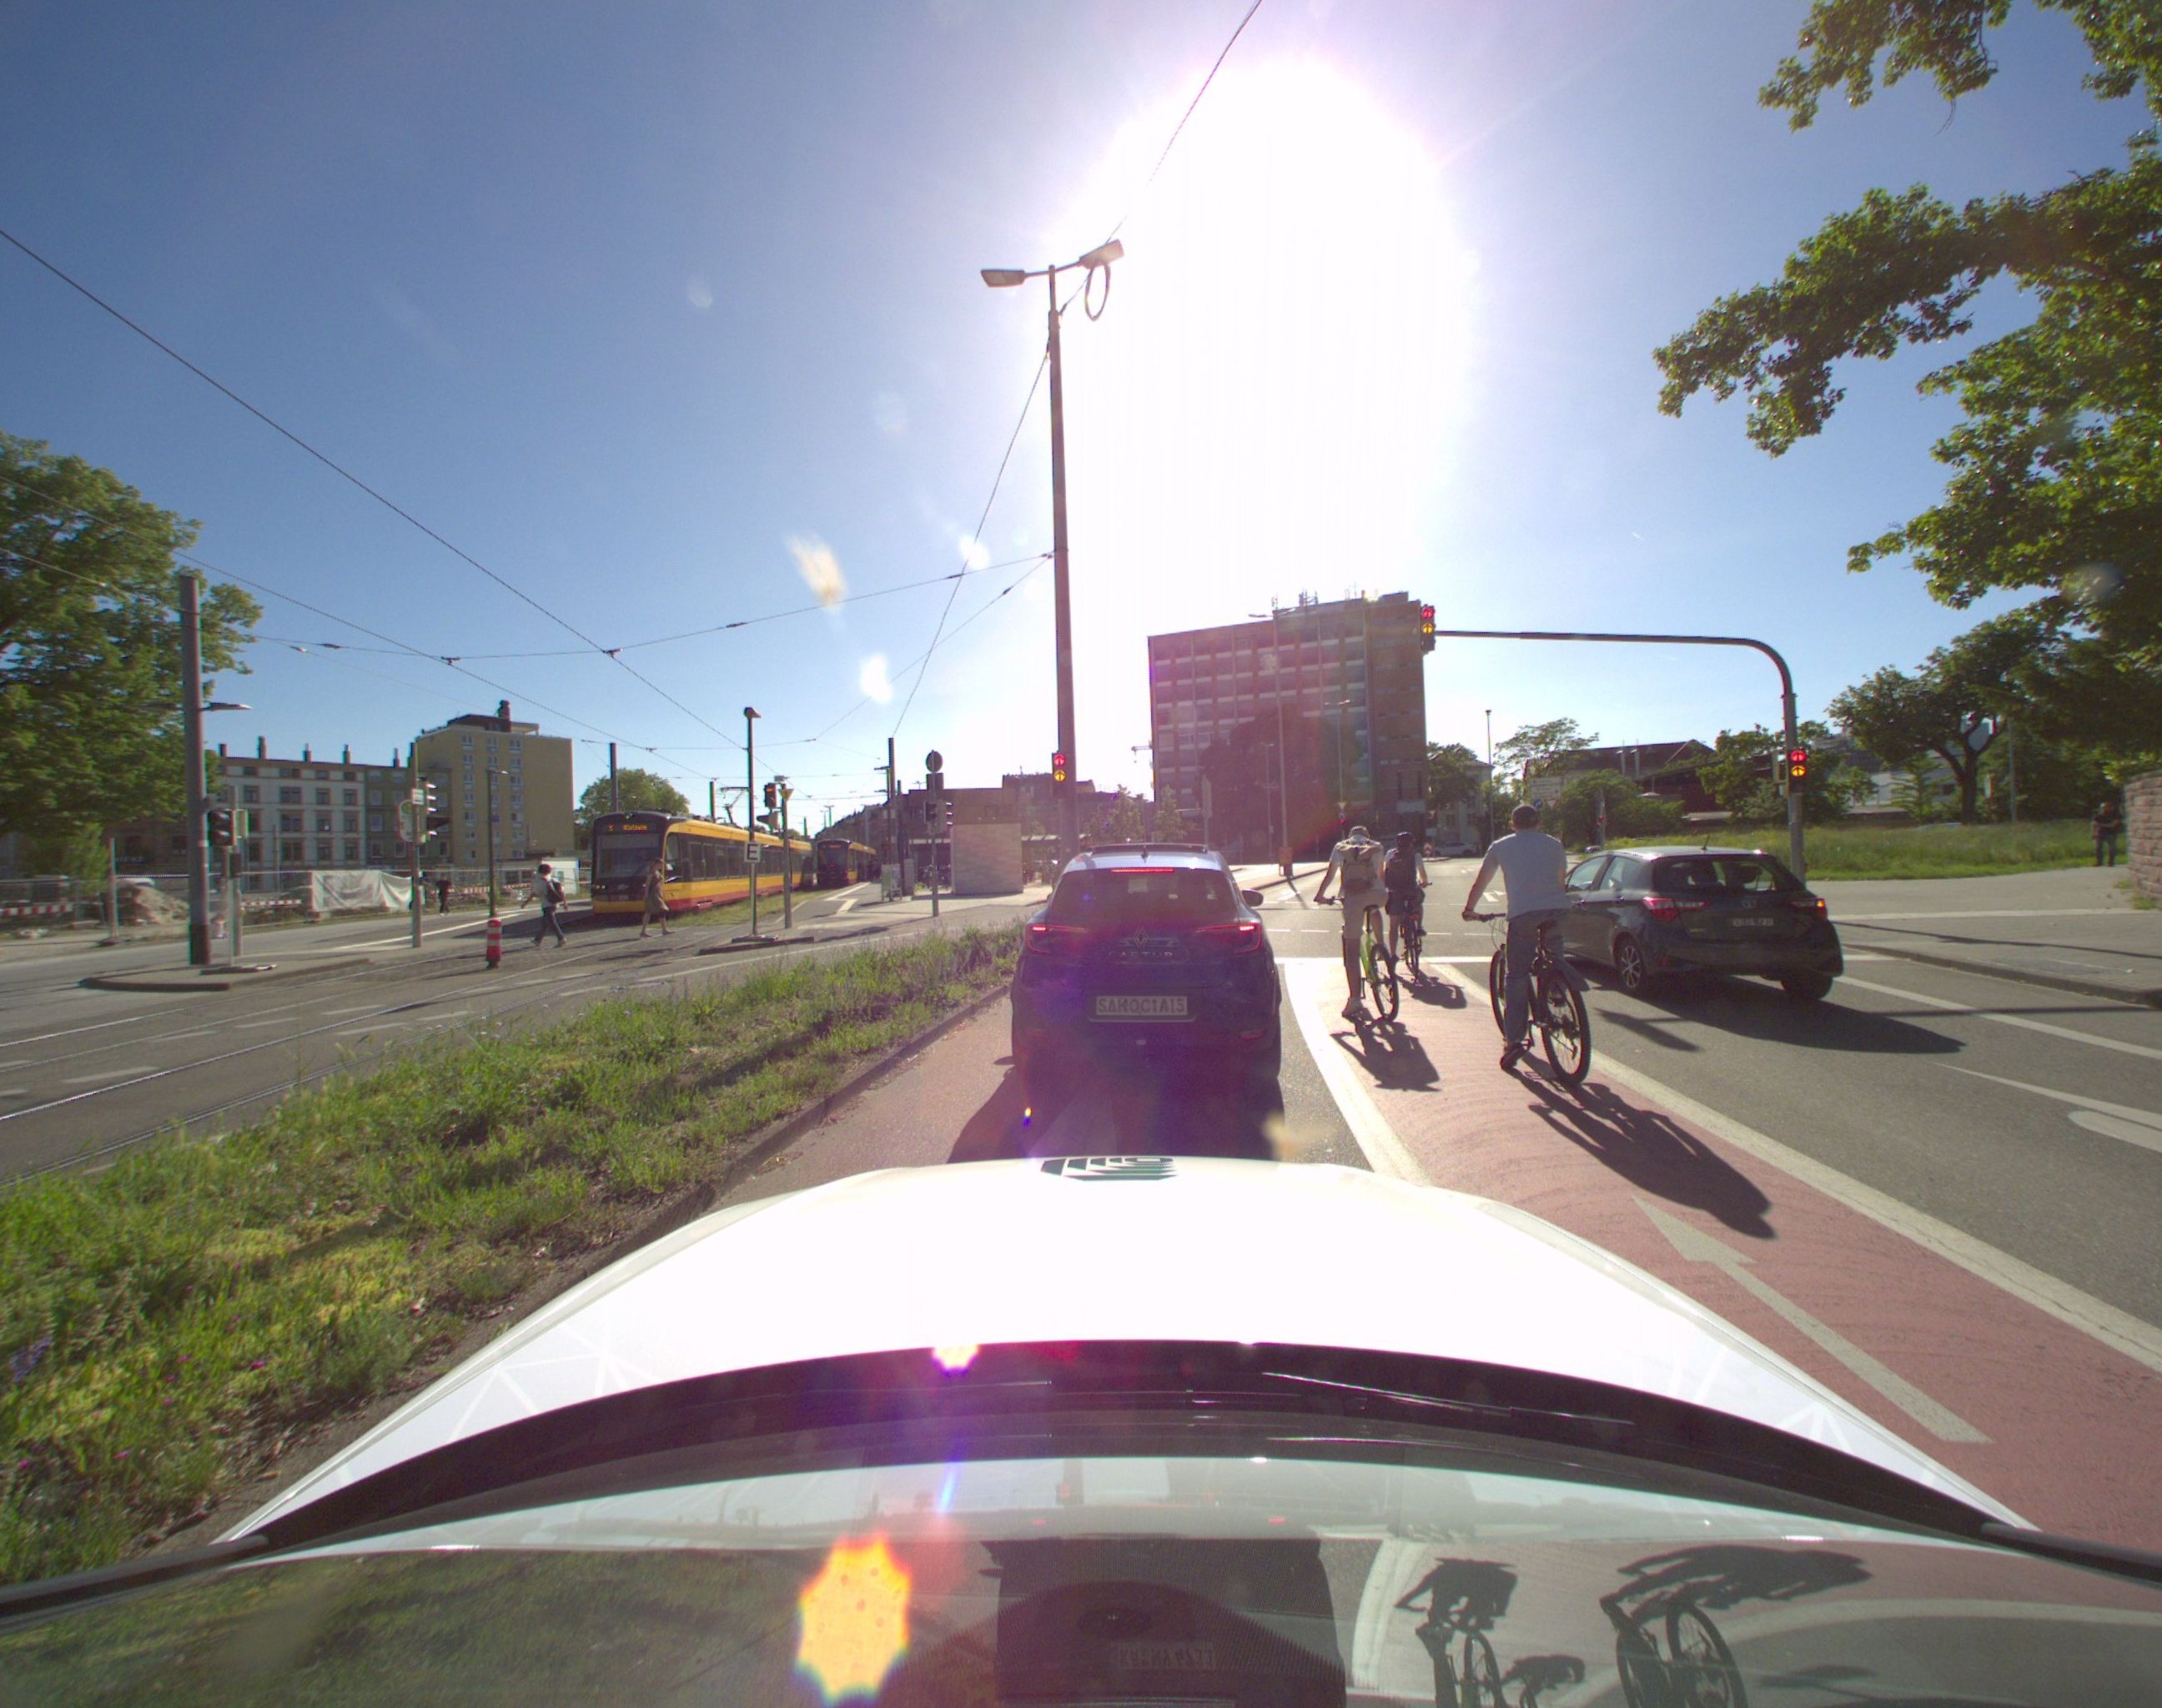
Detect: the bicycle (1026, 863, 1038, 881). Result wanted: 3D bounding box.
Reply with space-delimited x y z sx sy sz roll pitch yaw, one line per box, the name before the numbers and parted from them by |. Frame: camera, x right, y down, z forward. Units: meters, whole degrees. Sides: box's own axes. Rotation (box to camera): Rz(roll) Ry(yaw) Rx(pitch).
bicycle | -2.933 1.081 48.901 0.580 1.088 2.053 -1 -1 -7

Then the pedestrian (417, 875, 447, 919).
pedestrian | -27.140 1.791 34.068 0.668 1.767 0.796 -2 0 -13

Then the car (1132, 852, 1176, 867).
car | 7.750 0.616 86.966 4.354 1.522 1.982 -2 -2 40

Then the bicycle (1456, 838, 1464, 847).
bicycle | 44.353 -1.353 95.230 0.603 1.093 1.682 -3 0 32

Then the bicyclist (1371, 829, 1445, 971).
bicyclist | 3.975 0.528 9.963 0.716 1.626 1.059 -1 0 16

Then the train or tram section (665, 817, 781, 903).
train or tram section | -16.820 0.292 39.182 2.818 3.508 10.569 -1 0 -11

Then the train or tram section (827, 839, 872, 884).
train or tram section | -19.767 0.681 69.980 2.873 3.508 10.499 -1 0 -12

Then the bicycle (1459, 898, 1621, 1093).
bicycle | 3.215 0.906 5.877 0.606 1.077 1.838 -2 0 17

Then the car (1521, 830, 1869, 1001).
car | 6.588 0.582 9.292 1.744 1.541 3.671 -2 0 12

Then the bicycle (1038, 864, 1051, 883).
bicycle | -1.946 1.044 43.214 0.580 0.961 2.053 -1 -1 -7

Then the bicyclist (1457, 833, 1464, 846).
bicyclist | 44.313 -1.723 95.194 0.612 1.444 0.824 -2 0 32

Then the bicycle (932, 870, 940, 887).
bicycle | -8.545 1.442 47.966 0.422 0.938 1.300 0 -1 -13

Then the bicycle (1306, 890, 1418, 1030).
bicycle | 2.614 0.933 7.764 0.659 1.047 1.895 -2 1 9

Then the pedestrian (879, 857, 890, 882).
pedestrian | -14.969 1.164 62.028 0.848 1.883 0.757 -1 -2 -14

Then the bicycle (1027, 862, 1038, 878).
bicycle | -3.365 1.143 56.390 0.580 1.088 1.865 -1 -1 -9

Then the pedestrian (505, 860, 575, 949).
pedestrian | -11.679 1.073 17.612 1.017 1.832 0.757 -2 -1 -14

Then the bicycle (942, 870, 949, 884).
bicycle | -8.821 1.488 52.998 0.421 0.938 1.374 0 -1 -9

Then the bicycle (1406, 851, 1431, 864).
bicycle | 39.311 0.423 94.843 2.813 1.541 0.877 0 -2 -22

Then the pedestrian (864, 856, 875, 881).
pedestrian | -16.090 1.113 61.967 0.793 1.857 0.603 -1 -2 -14

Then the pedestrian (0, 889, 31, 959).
pedestrian | -28.077 1.812 20.940 0.967 1.767 0.865 -2 0 -1

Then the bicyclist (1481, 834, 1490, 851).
bicyclist | 43.074 -1.236 86.710 0.850 1.692 0.889 -2 -2 27

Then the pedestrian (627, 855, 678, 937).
pedestrian | -10.201 0.984 19.408 0.902 1.850 0.759 -2 2 -20

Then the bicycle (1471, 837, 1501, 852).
bicycle | 43.138 -1.000 86.701 2.775 1.541 0.889 -2 -2 27

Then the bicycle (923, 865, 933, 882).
bicycle | -9.863 1.275 52.591 0.565 1.093 2.023 -1 -1 -9

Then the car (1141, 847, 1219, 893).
car | 3.768 0.546 30.298 1.784 1.393 4.116 -2 2 23

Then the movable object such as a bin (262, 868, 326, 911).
movable object such as a bin | -53.473 2.390 55.349 3.950 2.796 1.844 -2 -2 26

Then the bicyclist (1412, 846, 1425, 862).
bicyclist | 39.306 -0.035 94.848 1.162 1.797 0.877 0 -2 -22

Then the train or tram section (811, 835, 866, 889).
train or tram section | -17.608 0.589 59.708 2.873 3.508 10.499 -1 0 -12

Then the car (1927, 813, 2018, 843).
car | 68.983 -1.983 63.116 4.305 2.014 2.013 -2 -2 33

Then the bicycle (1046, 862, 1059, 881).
bicycle | -1.726 1.061 48.943 0.580 1.088 2.053 -1 -1 -7

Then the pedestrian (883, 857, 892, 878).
pedestrian | -17.029 1.221 71.708 0.632 1.857 0.700 -1 -2 -9

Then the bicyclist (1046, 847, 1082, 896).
bicyclist | -0.575 0.604 28.179 0.873 1.644 1.065 -3 -1 16

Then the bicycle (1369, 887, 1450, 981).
bicycle | 3.999 0.926 10.043 0.717 0.960 1.892 -1 0 16

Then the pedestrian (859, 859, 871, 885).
pedestrian | -16.226 1.342 61.098 0.848 1.883 0.757 -1 -2 -14

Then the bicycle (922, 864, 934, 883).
bicycle | -8.675 1.106 46.252 0.565 1.093 2.023 -1 -1 -9

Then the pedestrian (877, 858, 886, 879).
pedestrian | -17.988 1.281 73.544 0.700 1.857 0.632 -1 -2 -10

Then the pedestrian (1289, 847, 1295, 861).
pedestrian | 25.538 -0.011 98.670 0.555 1.670 0.479 -2 -2 39

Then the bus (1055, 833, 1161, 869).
bus | 2.664 -0.256 86.844 12.287 3.396 2.900 -2 -2 42

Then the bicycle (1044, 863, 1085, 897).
bicycle | -0.546 0.885 28.171 0.767 1.080 2.044 -3 -1 16

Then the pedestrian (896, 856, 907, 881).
pedestrian | -13.945 1.117 63.299 0.848 1.883 0.757 -1 -2 -14

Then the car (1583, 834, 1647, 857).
car | 48.372 -0.698 73.770 4.605 1.900 2.012 -2 -2 39

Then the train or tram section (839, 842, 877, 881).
train or tram section | -21.893 0.709 80.309 2.873 3.508 10.499 -1 0 -12

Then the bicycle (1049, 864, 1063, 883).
bicycle | -1.333 1.035 43.286 0.580 0.961 2.053 -1 -1 -7

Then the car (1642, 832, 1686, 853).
car | 55.144 -1.081 77.052 3.873 1.935 1.889 0 -2 -30

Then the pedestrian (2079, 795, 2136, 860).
pedestrian | 29.901 -0.777 23.732 1.052 1.832 0.754 -2 -1 -27

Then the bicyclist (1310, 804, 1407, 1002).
bicyclist | 2.595 0.440 7.723 0.660 1.747 1.008 -2 0 9

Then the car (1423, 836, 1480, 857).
car | 32.913 -0.637 72.394 4.214 1.568 1.827 -4 -1 6

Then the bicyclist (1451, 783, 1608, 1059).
bicyclist | 3.149 0.437 5.824 0.744 1.776 1.018 -2 -1 17

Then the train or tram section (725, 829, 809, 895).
train or tram section | -18.881 0.470 49.781 2.818 3.508 11.166 -1 0 -11

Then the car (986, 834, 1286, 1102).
car | 0.561 0.688 6.781 1.813 1.600 3.666 -1 0 8

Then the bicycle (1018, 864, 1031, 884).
bicycle | -2.975 1.054 42.863 0.580 1.058 1.812 -1 -1 -7

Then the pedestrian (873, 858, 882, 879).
pedestrian | -18.064 1.252 72.264 0.631 1.857 0.701 -1 -2 -7

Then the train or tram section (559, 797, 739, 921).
train or tram section | -14.700 0.176 28.860 2.820 3.508 10.433 -2 0 -12

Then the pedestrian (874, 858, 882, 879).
pedestrian | -17.783 1.272 71.167 0.634 1.857 0.699 0 -2 -17
